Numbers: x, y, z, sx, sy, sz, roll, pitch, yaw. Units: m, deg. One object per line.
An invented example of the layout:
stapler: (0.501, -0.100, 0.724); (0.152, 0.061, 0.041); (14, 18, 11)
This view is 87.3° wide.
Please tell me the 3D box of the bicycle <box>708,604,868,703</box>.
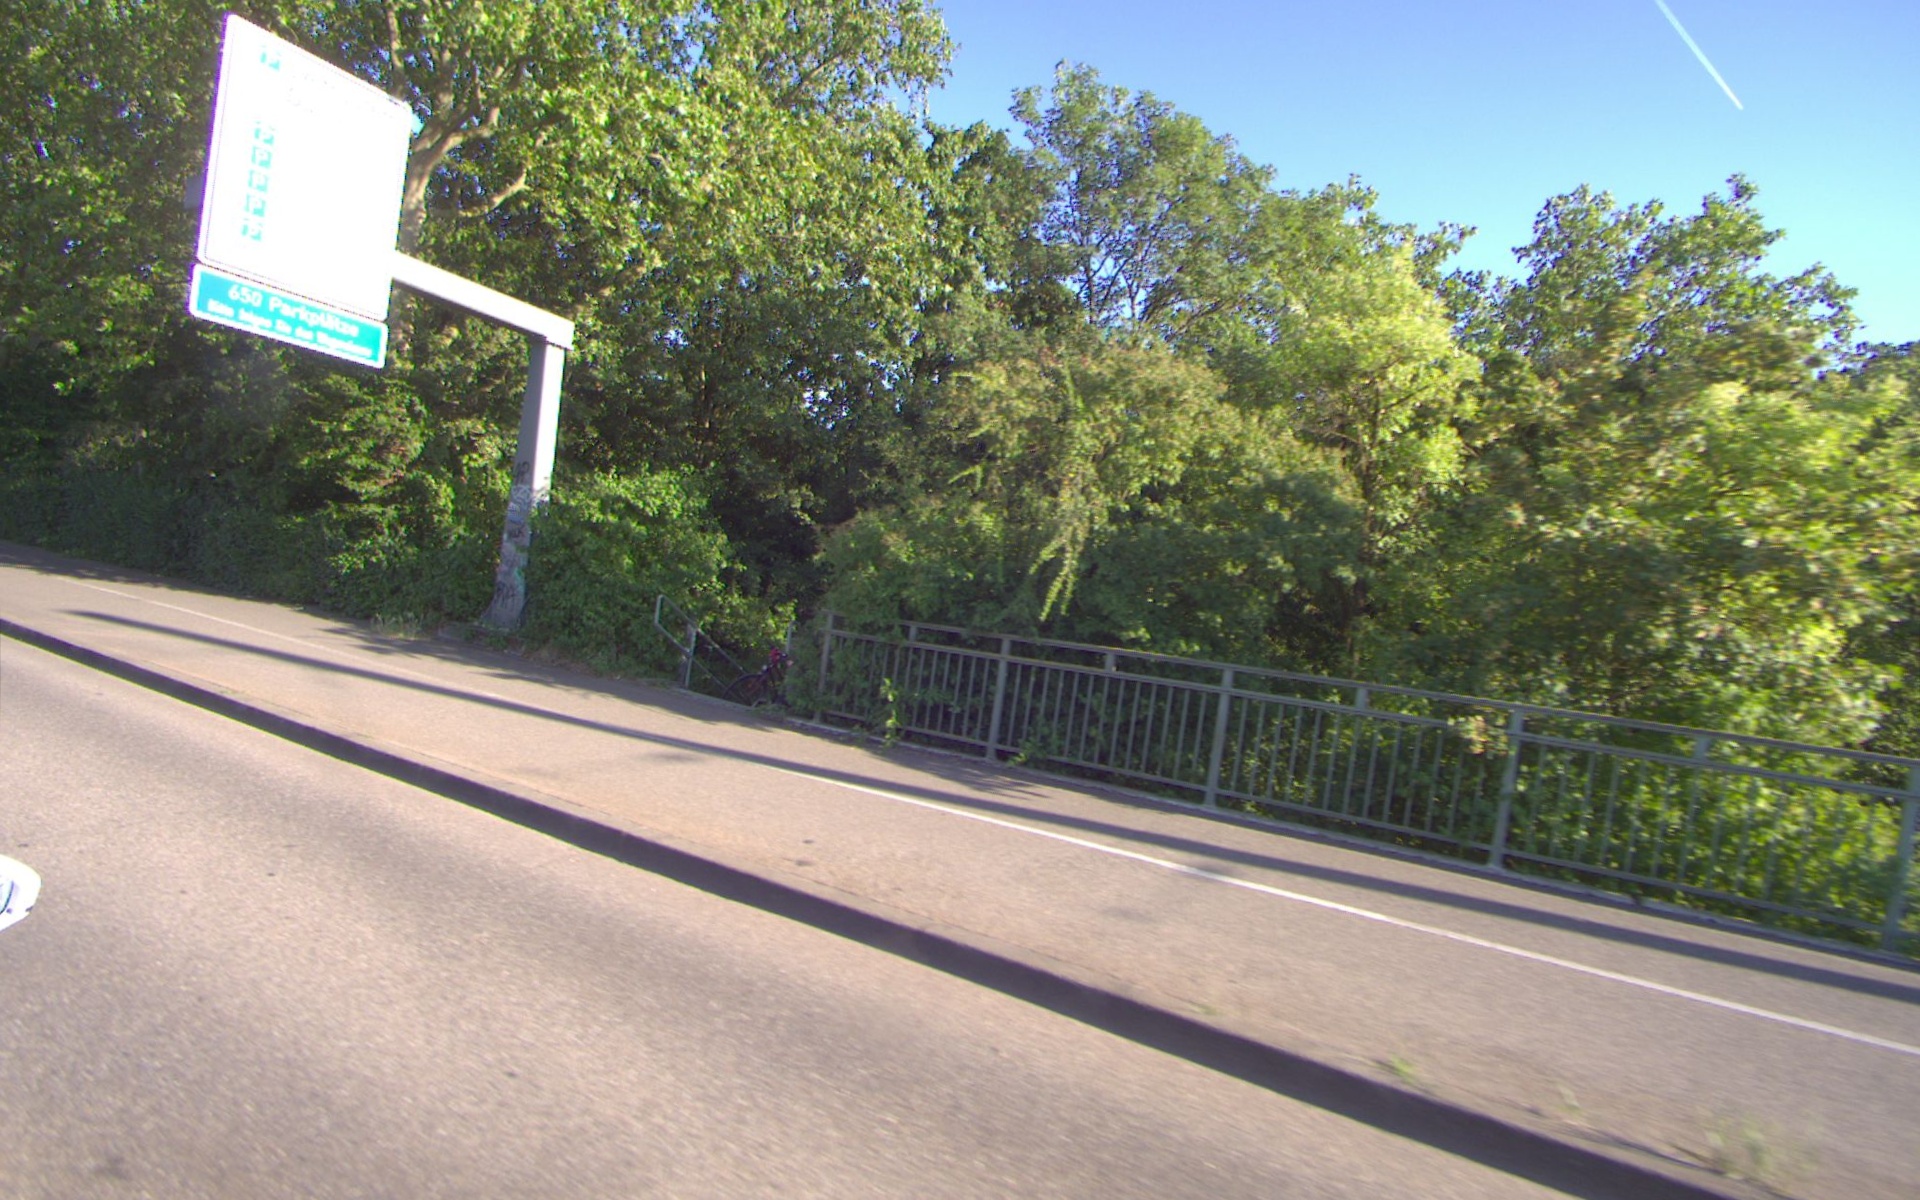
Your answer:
bicycle: (-2.243, 0.735, 13.351); (0.619, 1.136, 2.031); (8, 0, 43)

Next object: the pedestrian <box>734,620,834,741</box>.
pedestrian: (-2.253, 1.035, 12.910); (0.796, 1.412, 0.809); (8, 1, 45)
